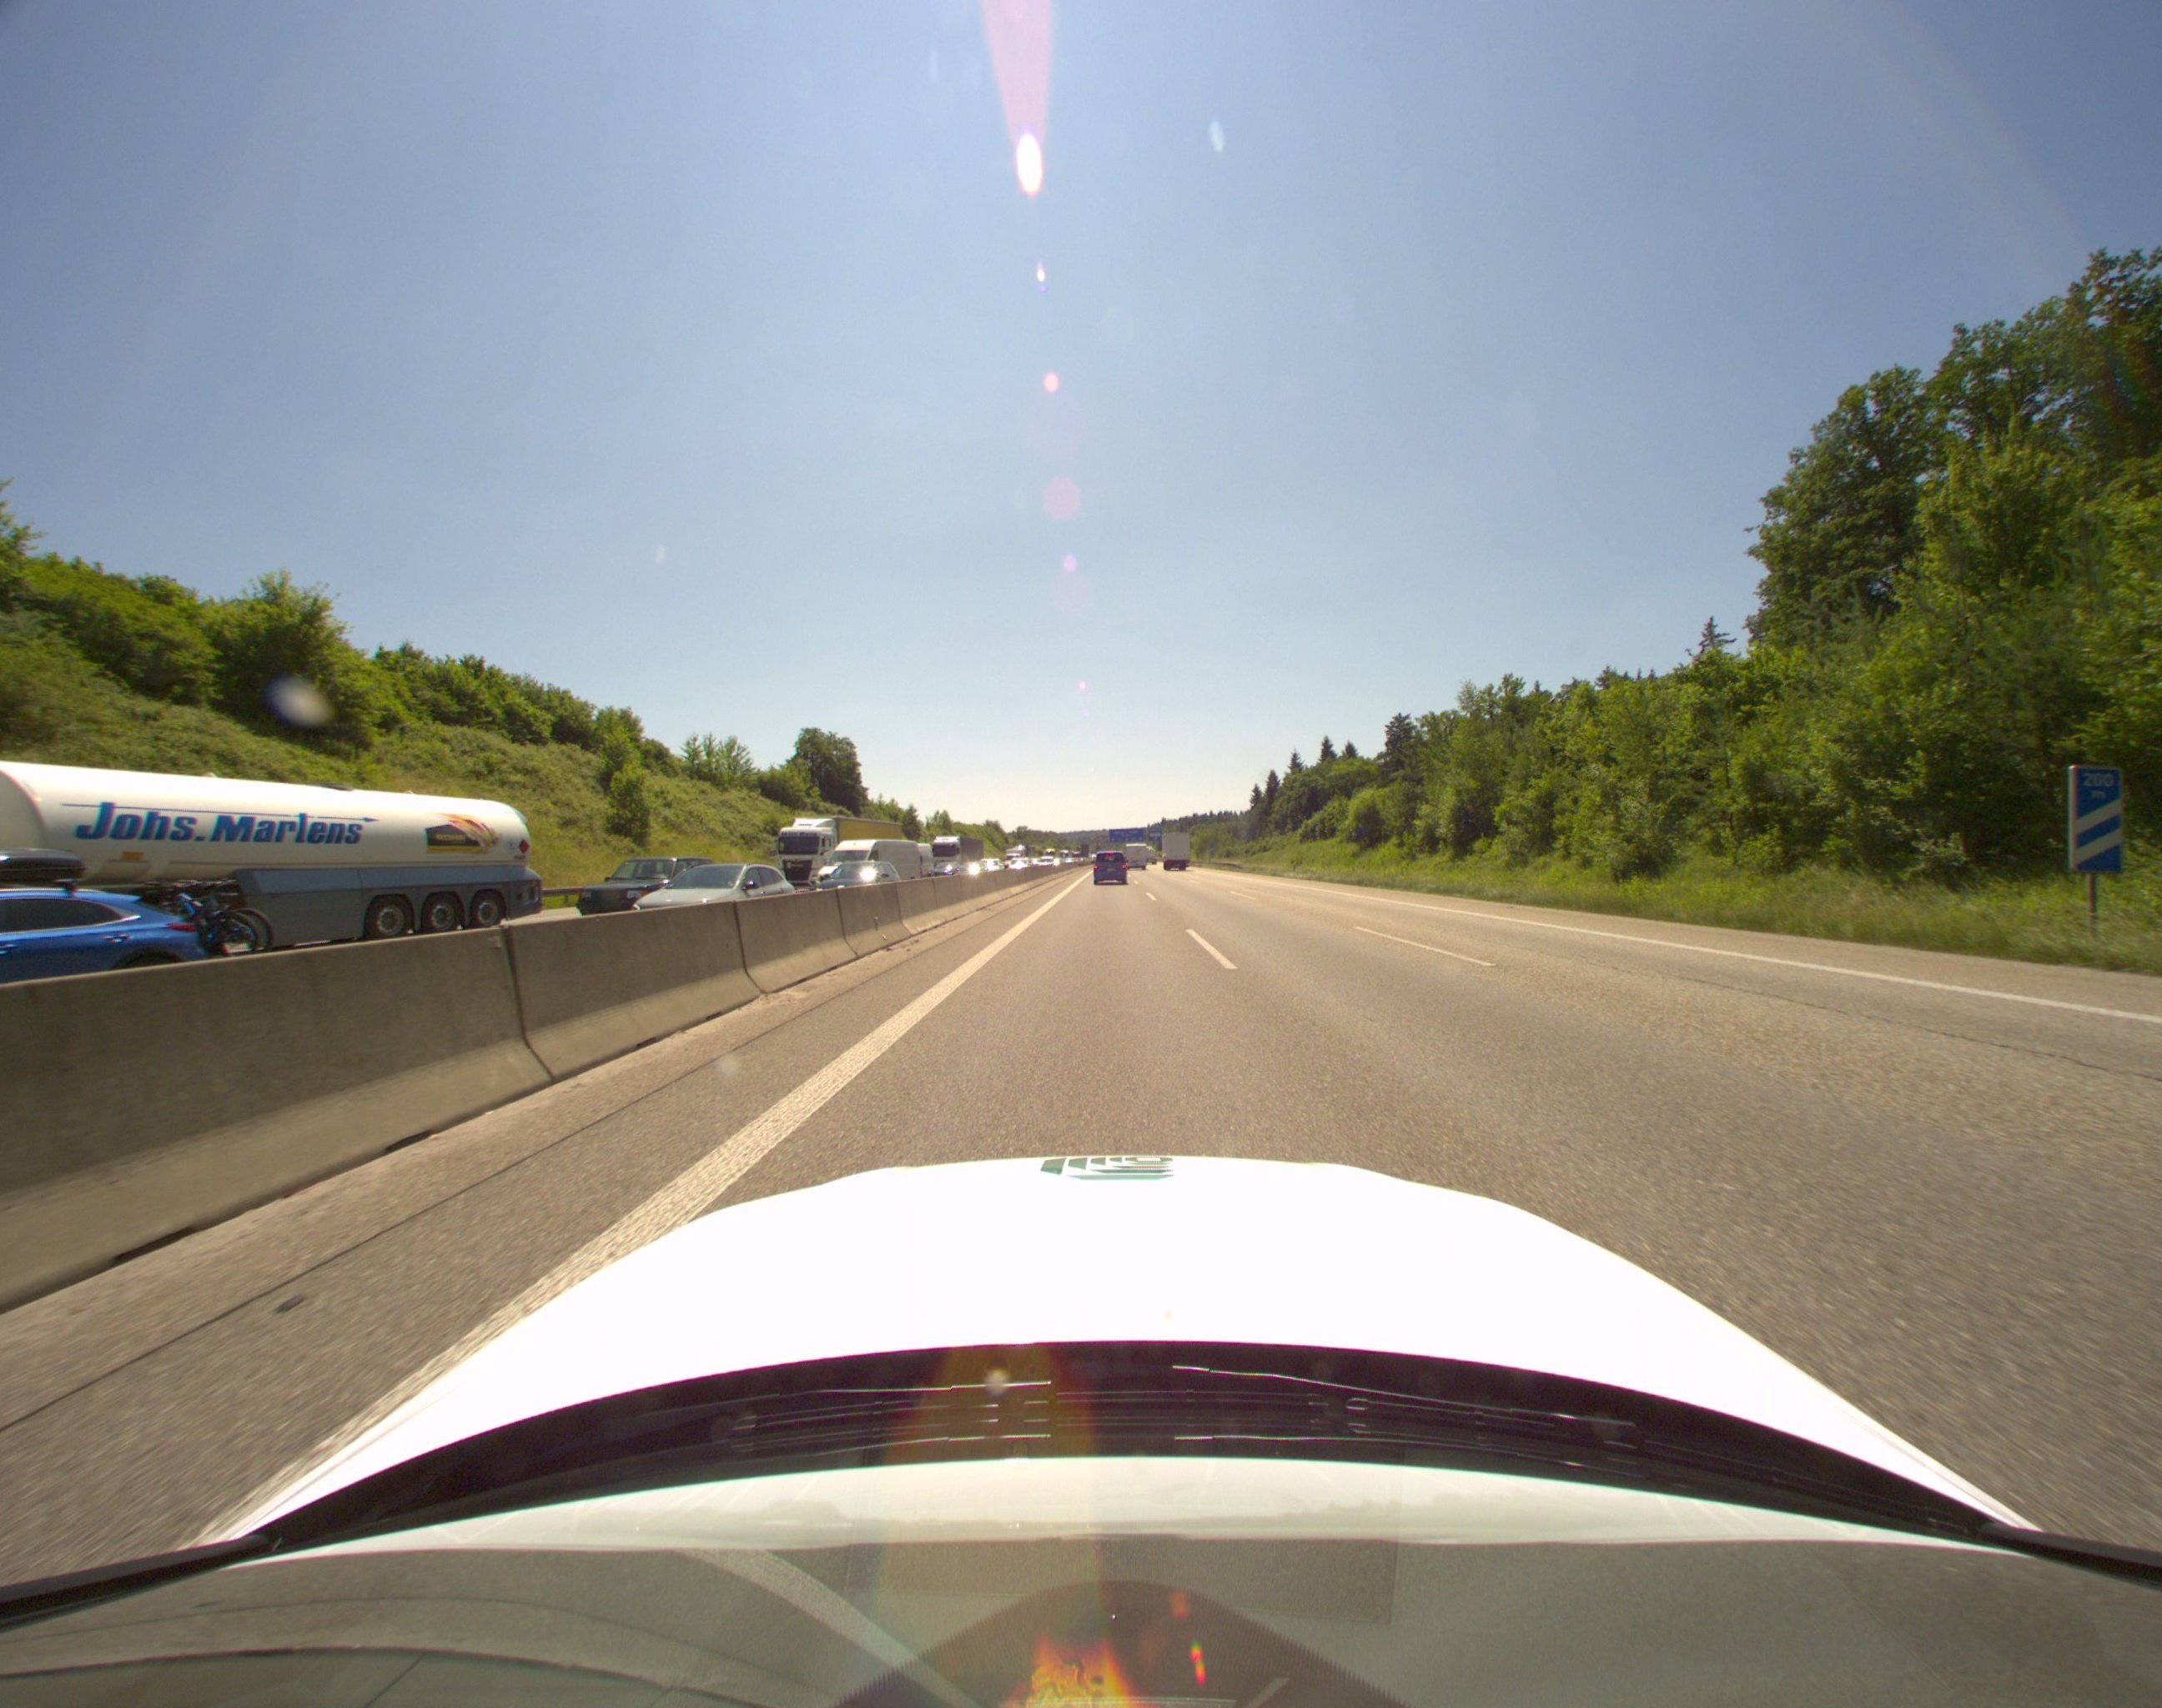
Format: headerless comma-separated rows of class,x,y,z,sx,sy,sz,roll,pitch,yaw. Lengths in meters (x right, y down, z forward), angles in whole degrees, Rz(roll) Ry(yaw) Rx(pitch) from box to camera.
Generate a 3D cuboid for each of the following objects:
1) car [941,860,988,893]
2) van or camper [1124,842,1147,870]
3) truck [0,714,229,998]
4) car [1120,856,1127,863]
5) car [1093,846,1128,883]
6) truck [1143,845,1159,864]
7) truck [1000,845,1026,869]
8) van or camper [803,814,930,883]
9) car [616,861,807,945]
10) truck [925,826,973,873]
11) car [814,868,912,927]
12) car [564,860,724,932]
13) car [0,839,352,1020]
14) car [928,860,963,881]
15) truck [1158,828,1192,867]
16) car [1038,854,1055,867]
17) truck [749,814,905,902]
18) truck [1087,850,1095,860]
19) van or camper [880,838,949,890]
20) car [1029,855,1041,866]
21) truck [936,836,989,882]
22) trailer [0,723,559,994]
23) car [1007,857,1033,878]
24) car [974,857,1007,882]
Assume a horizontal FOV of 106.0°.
car,-6.466,1.216,45.694,1.821,1.764,4.991,0,-1,1
van or camper,6.484,0.263,97.280,2.592,3.079,7.185,0,-2,3
truck,-15.605,0.030,10.652,2.670,3.743,5.870,0,-1,0
car,10.979,1.383,209.257,1.769,1.772,4.001,-1,0,1
car,1.694,0.598,47.148,1.902,2.013,4.001,-1,0,2
truck,14.117,0.099,164.375,2.915,3.575,8.534,-2,0,3
truck,-8.584,0.413,103.529,2.559,2.845,6.753,0,-1,1
van or camper,-9.348,-0.158,36.463,2.235,2.775,7.245,0,-1,14
car,-7.440,0.916,17.024,1.822,1.497,4.758,0,-1,0
truck,-13.235,-0.356,82.348,2.930,4.516,8.612,0,-1,3
car,-7.092,1.355,27.096,1.821,1.764,4.991,0,-1,1
car,-11.570,1.037,22.014,1.993,1.728,4.752,0,-1,-4
car,-11.486,0.760,9.283,1.822,1.764,4.989,0,-1,0
car,-10.136,1.236,61.295,1.821,1.565,4.524,0,-1,1
truck,10.319,-0.608,90.465,2.773,4.128,9.740,0,-1,1
car,-4.387,0.834,103.563,1.821,1.565,5.112,0,-1,1
truck,-14.647,0.323,49.580,3.682,4.456,16.682,0,-1,2
truck,2.972,0.407,248.191,2.111,2.842,6.217,0,-1,3
van or camper,-10.058,0.647,49.958,2.187,2.939,7.542,0,-1,4
car,-7.374,1.073,129.760,1.565,1.731,3.886,0,-1,2
truck,-12.818,0.603,89.315,2.982,4.543,13.935,0,-1,3
trailer,-15.507,0.056,16.575,2.600,3.733,10.686,0,0,2
car,-5.475,1.214,73.612,1.821,1.764,4.991,0,-1,1
car,-6.738,1.159,61.054,1.821,1.764,4.991,0,-1,1
